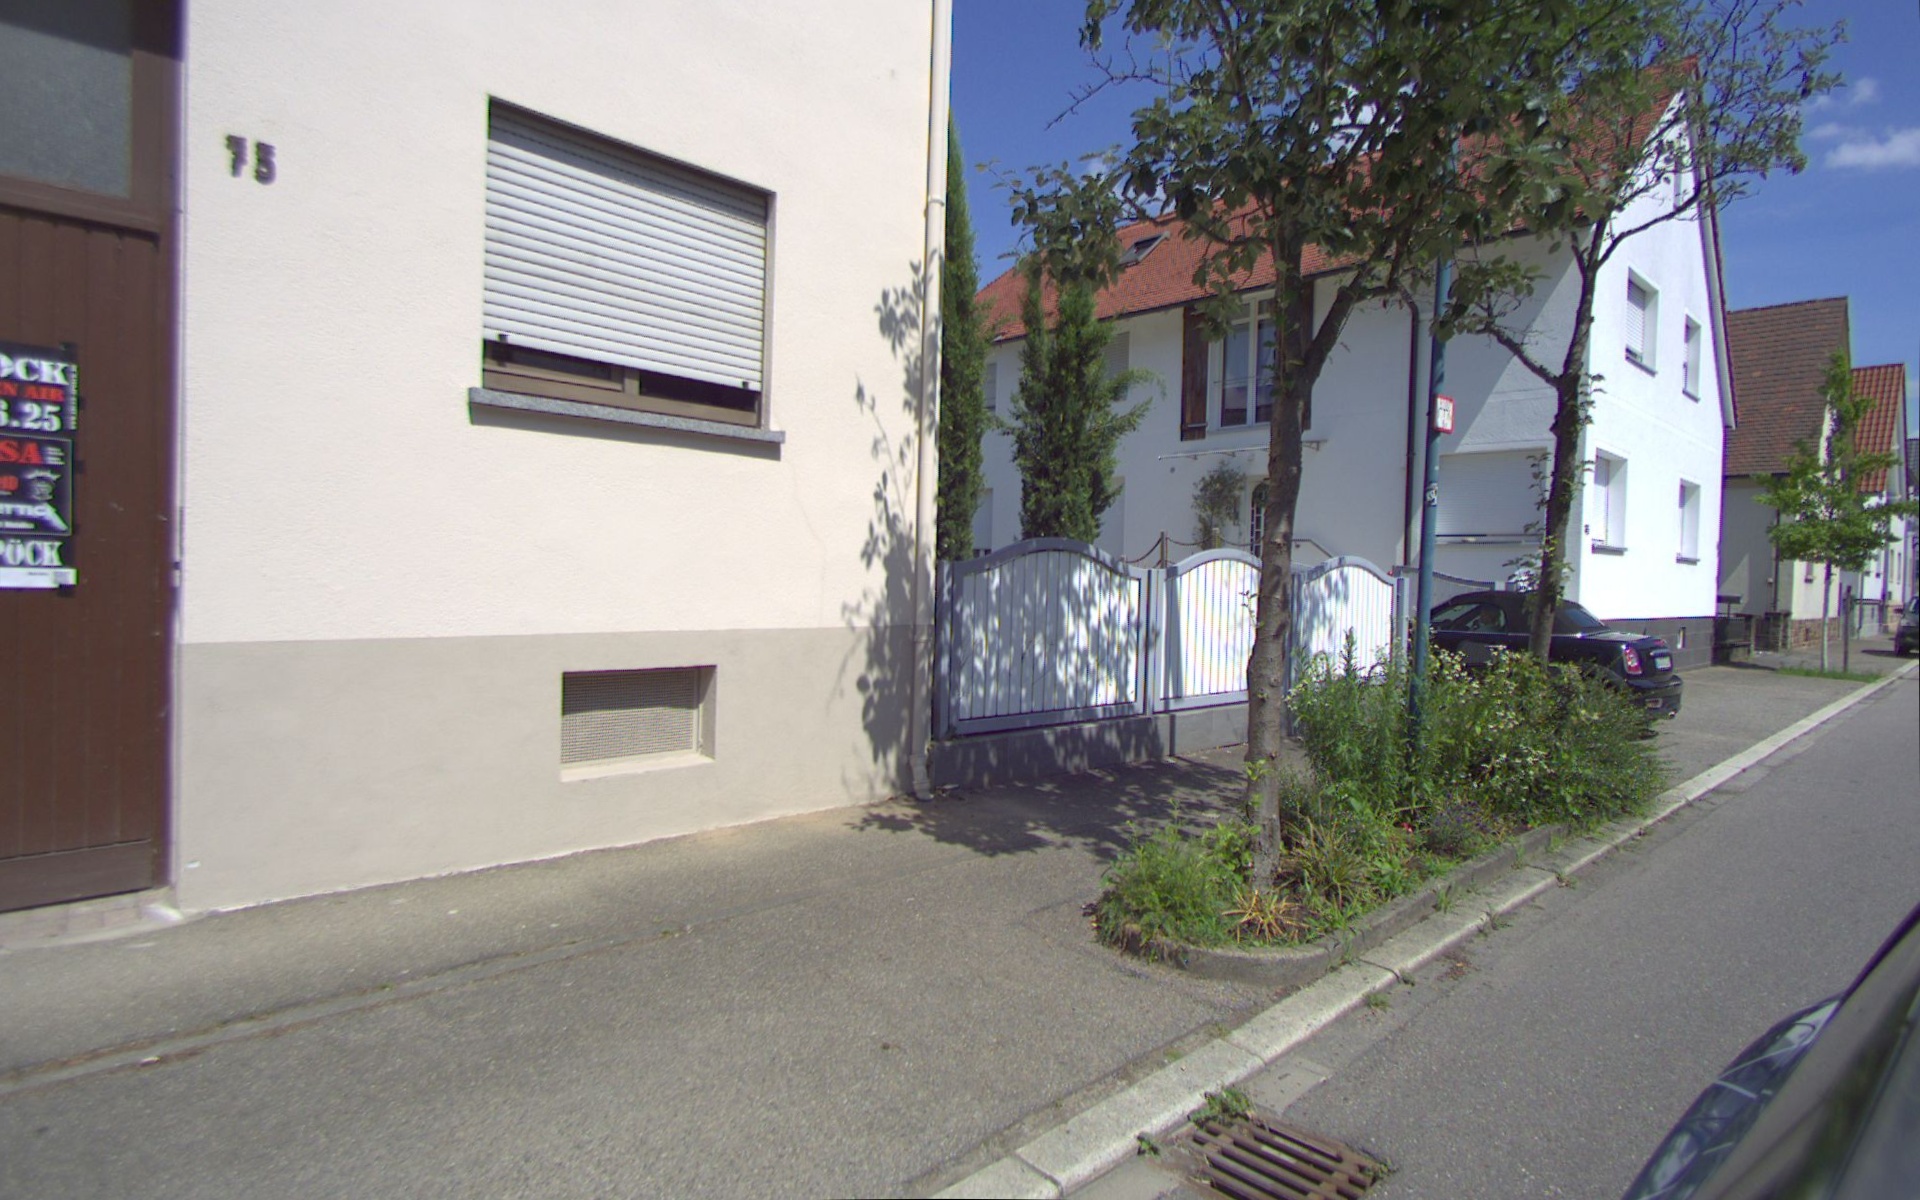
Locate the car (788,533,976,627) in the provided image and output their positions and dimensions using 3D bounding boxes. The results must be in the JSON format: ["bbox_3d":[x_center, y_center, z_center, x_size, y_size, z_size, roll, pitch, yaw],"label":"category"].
[{"bbox_3d":[-1.678,-0.444,20.720,1.852,1.725,3.929,0,2,-42],"label":"car"}]

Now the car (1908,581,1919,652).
[{"bbox_3d":[25.813,0.422,26.177,1.729,1.738,4.207,2,2,45],"label":"car"}]

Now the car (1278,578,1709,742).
[{"bbox_3d":[5.817,0.519,11.397,1.710,1.432,3.929,0,2,-42],"label":"car"}]
